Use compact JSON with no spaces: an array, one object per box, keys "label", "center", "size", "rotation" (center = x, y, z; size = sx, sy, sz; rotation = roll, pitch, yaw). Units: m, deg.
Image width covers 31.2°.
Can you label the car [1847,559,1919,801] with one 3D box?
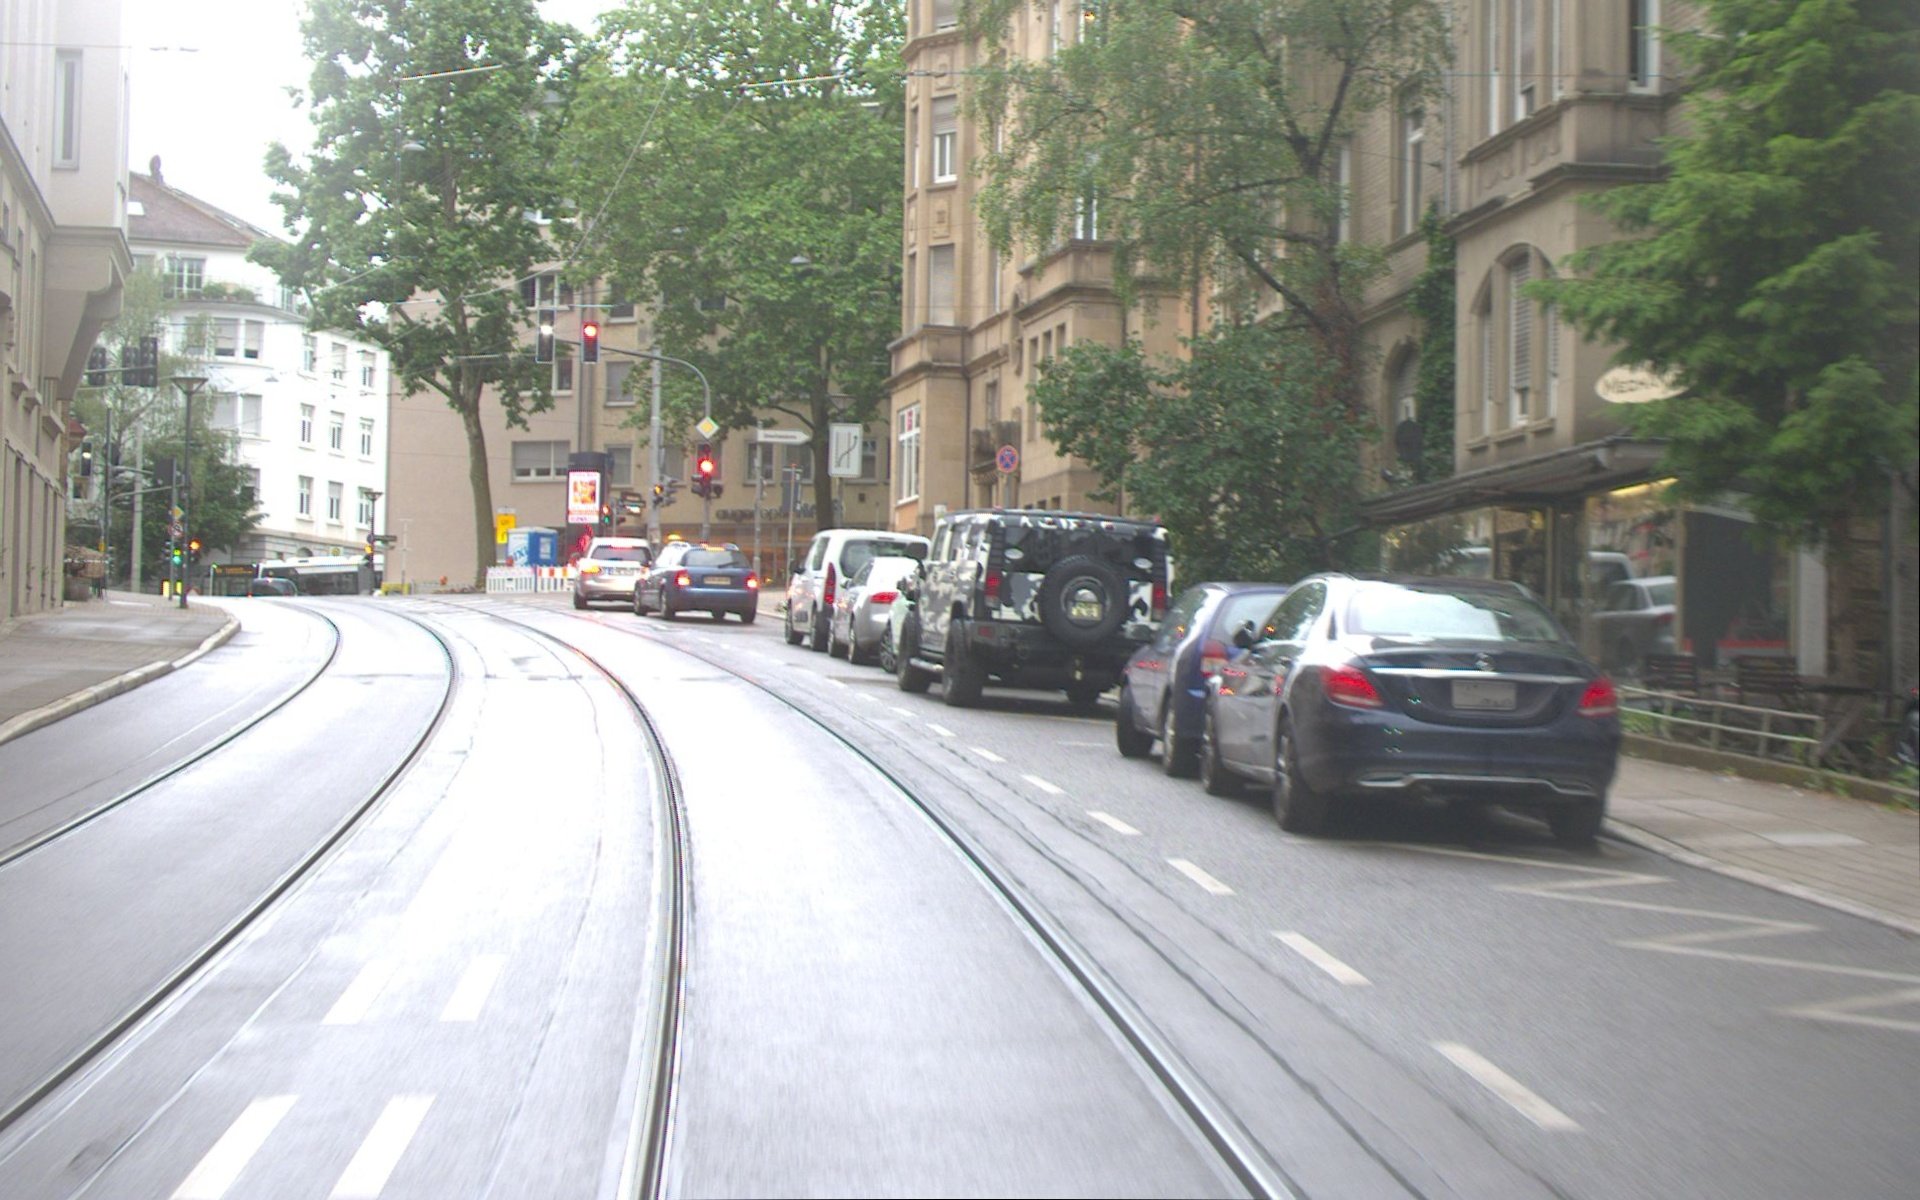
[{"label":"car","center":[6.617,0.540,19.968],"size":[1.812,1.421,4.153],"rotation":[4,1,1]}]

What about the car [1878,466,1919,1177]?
[{"label":"car","center":[3.596,0.613,6.597],"size":[1.942,1.789,4.822],"rotation":[2,0,-5]}]

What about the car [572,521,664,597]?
[{"label":"car","center":[-7.040,-0.855,70.501],"size":[1.710,1.451,3.554],"rotation":[2,1,-8]}]

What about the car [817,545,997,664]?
[{"label":"car","center":[-0.764,0.025,45.752],"size":[1.748,1.396,4.479],"rotation":[3,1,-8]}]

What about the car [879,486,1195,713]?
[{"label":"car","center":[0.665,-0.054,34.769],"size":[2.128,2.007,5.352],"rotation":[3,1,-9]}]

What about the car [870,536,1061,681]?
[{"label":"car","center":[0.021,0.064,40.739],"size":[1.559,1.541,3.585],"rotation":[3,1,-10]}]

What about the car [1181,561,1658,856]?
[{"label":"car","center":[2.544,0.540,20.192],"size":[1.794,1.432,4.612],"rotation":[2,1,-5]}]

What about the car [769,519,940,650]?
[{"label":"car","center":[-1.612,-0.272,50.816],"size":[1.797,1.759,4.464],"rotation":[3,1,-10]}]

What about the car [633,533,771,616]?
[{"label":"car","center":[-4.897,-0.500,64.706],"size":[1.710,1.410,4.038],"rotation":[2,1,-17]}]

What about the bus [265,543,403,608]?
[{"label":"bus","center":[-28.524,-1.171,157.015],"size":[2.856,2.851,8.728],"rotation":[1,1,14]}]

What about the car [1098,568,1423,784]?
[{"label":"car","center":[2.078,0.491,24.769],"size":[1.678,1.333,3.883],"rotation":[2,1,-4]}]
